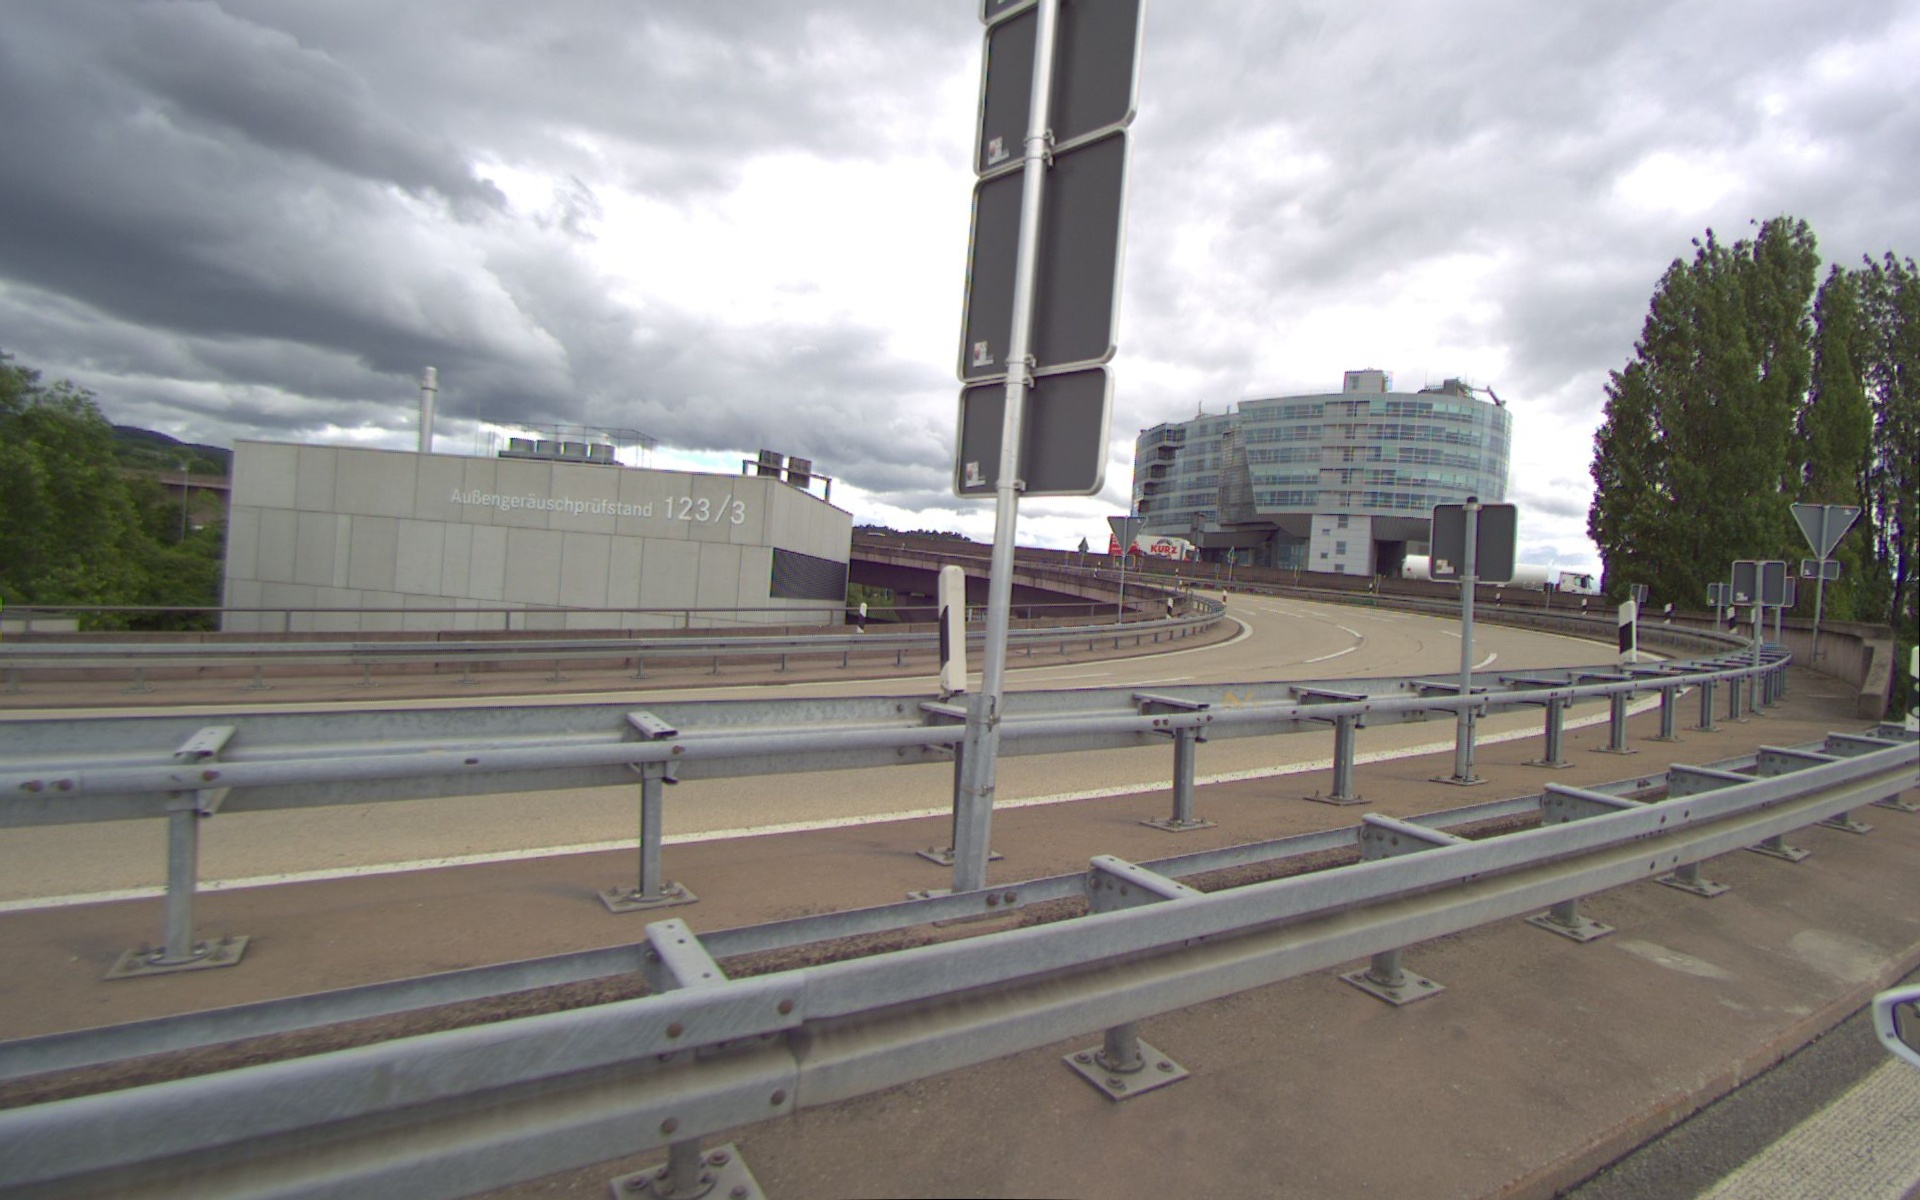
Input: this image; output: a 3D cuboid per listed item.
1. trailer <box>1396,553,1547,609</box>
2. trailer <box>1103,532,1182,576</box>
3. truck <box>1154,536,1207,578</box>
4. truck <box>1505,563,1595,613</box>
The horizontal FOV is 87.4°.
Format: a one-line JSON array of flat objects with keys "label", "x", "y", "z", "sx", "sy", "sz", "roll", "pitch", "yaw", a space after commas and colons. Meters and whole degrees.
[{"label": "trailer", "x": 42.981, "y": -1.626, "z": 84.778, "sx": 10.949, "sy": 3.786, "sz": 2.798, "roll": 5, "pitch": 1, "yaw": 27}, {"label": "trailer", "x": 18.481, "y": -4.661, "z": 101.885, "sx": 7.176, "sy": 3.738, "sz": 2.697, "roll": 5, "pitch": 1, "yaw": 26}, {"label": "truck", "x": 22.000, "y": -4.322, "z": 100.164, "sx": 4.356, "sy": 3.738, "sz": 2.697, "roll": 5, "pitch": 1, "yaw": 26}, {"label": "truck", "x": 48.123, "y": -0.984, "z": 82.139, "sx": 5.855, "sy": 3.475, "sz": 2.775, "roll": 5, "pitch": 1, "yaw": 27}]
